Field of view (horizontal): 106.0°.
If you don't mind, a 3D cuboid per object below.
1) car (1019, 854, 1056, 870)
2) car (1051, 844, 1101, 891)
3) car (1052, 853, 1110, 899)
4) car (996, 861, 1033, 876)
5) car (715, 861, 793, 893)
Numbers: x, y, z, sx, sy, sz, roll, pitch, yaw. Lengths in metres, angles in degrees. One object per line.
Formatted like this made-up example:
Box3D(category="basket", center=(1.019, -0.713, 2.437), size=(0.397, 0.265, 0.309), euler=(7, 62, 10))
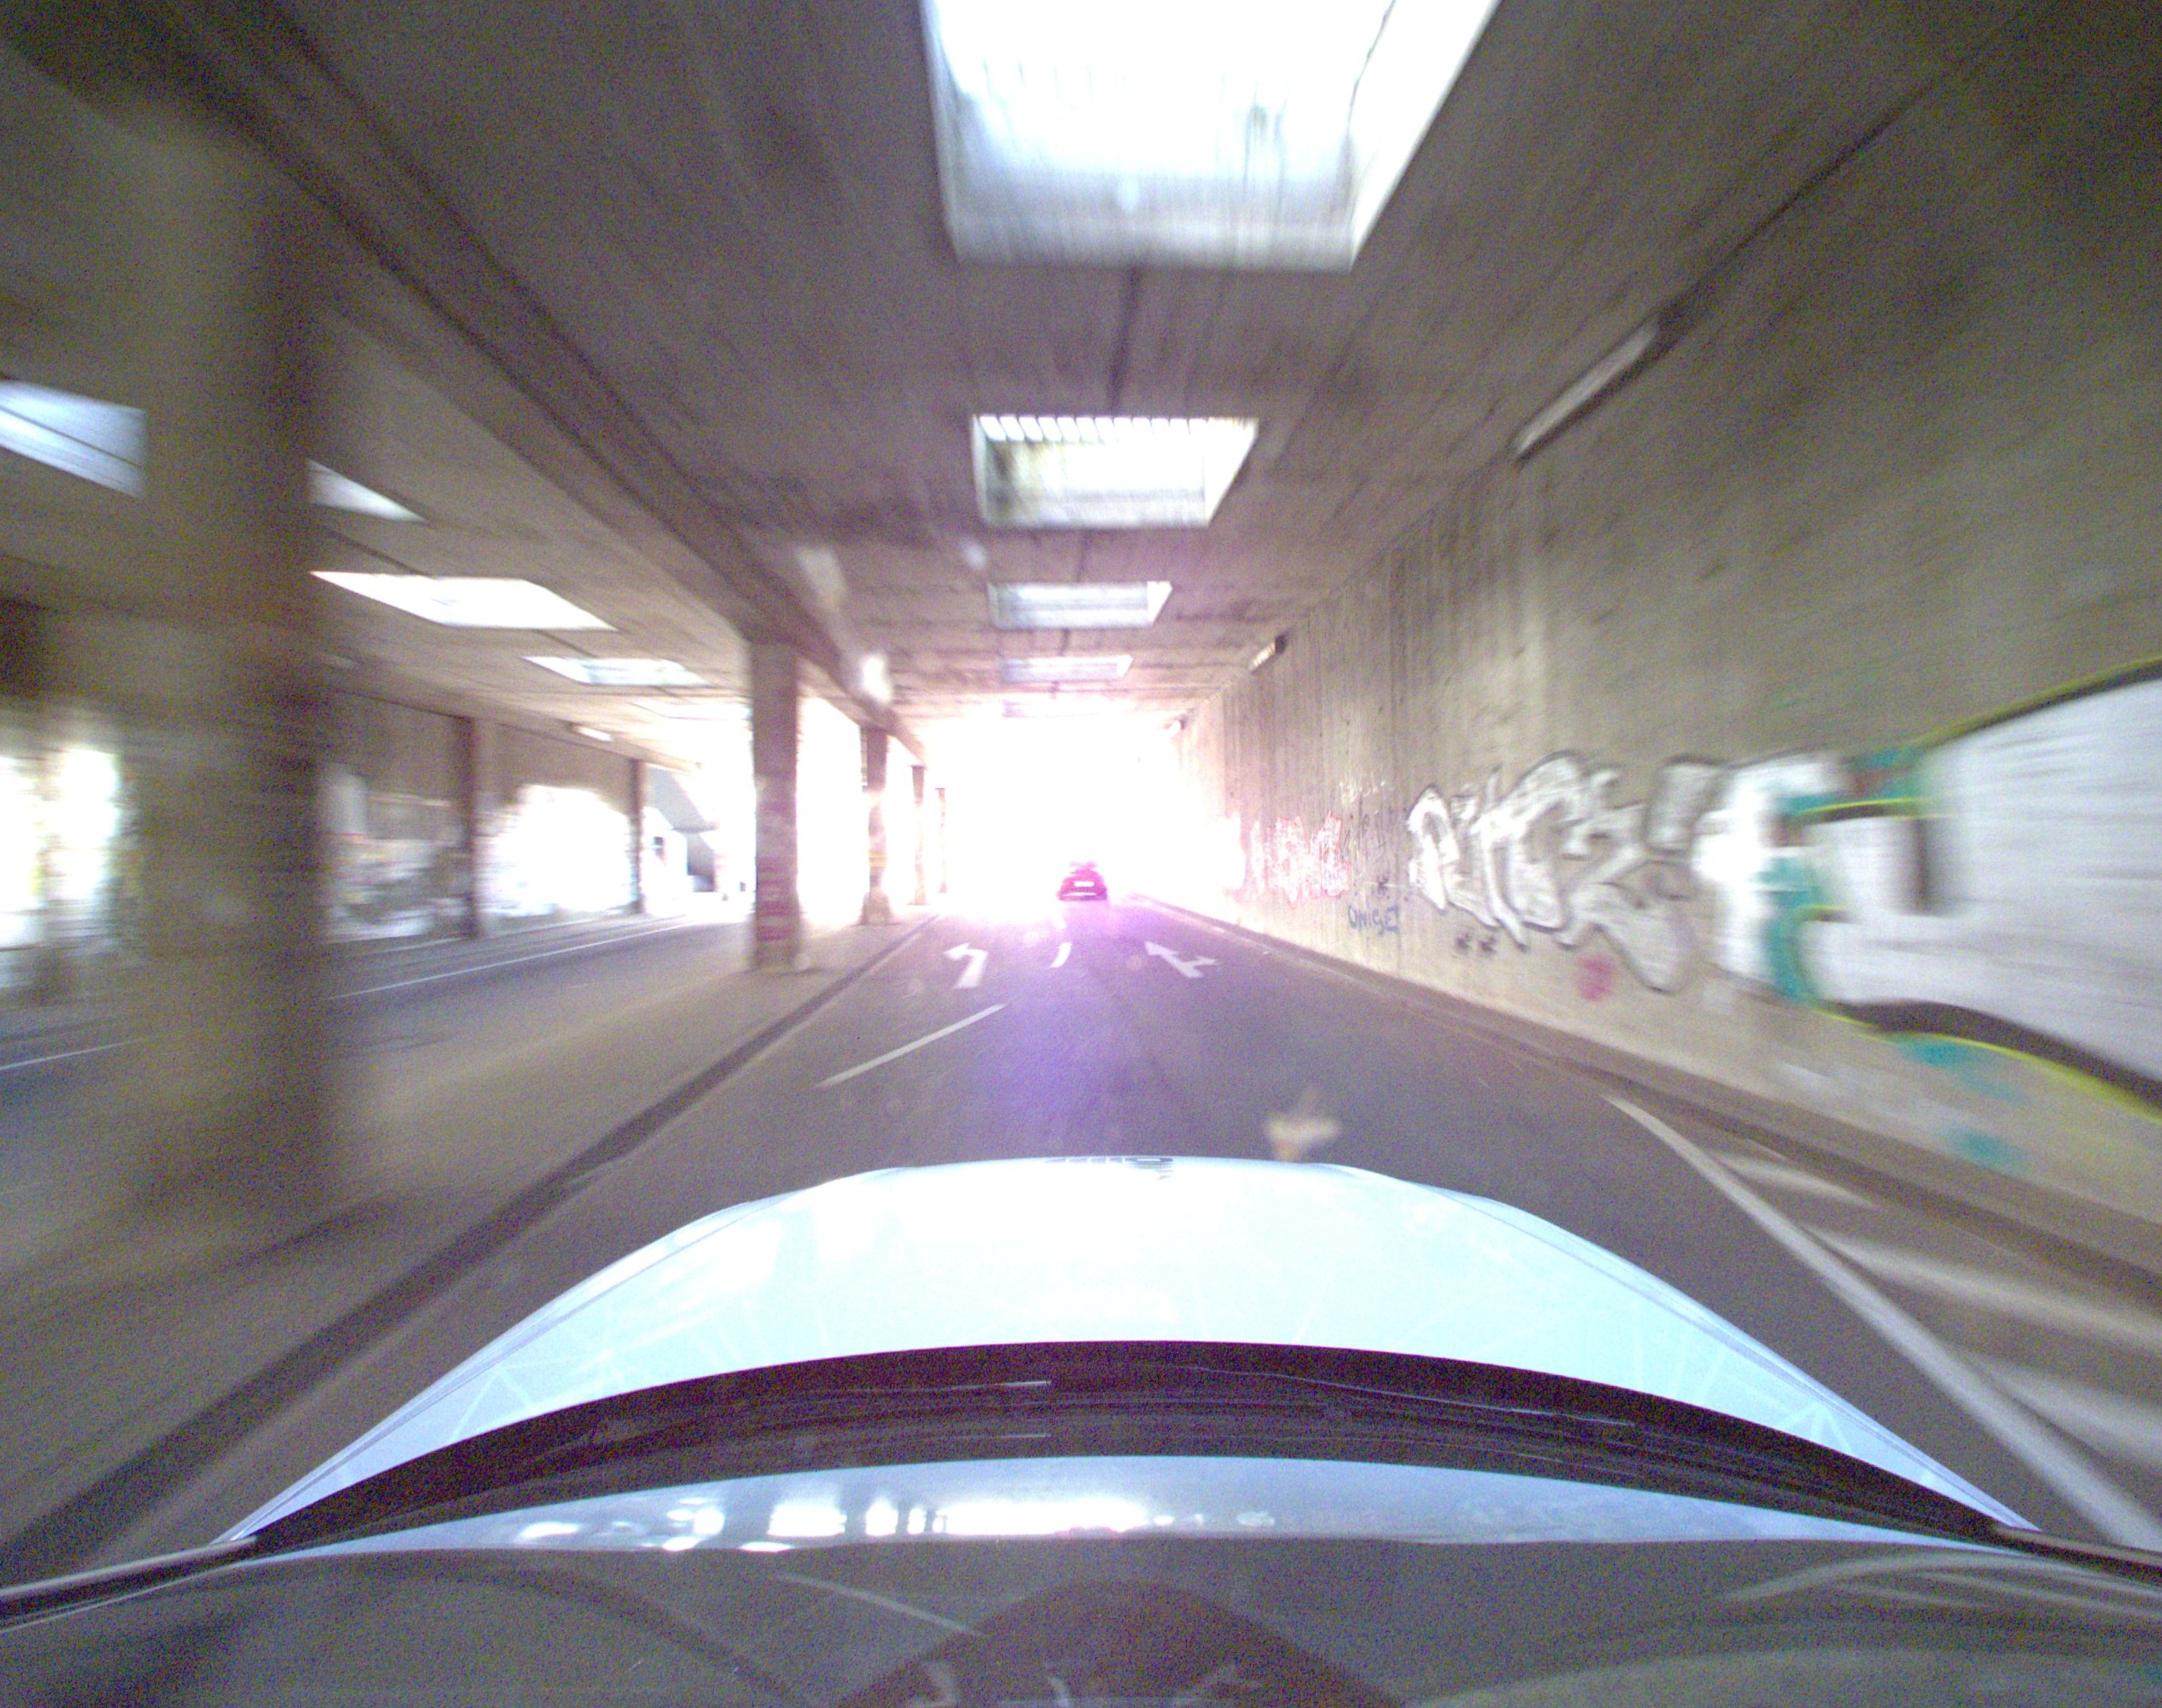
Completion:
Box3D(category="car", center=(-5.113, 0.977, 96.045), size=(4.134, 1.739, 2.001), euler=(-2, 0, 2))
Box3D(category="car", center=(-0.277, 0.545, 35.655), size=(1.812, 1.882, 4.578), euler=(-2, 0, -4))
Box3D(category="car", center=(-0.066, 0.747, 29.444), size=(1.822, 1.501, 4.205), euler=(-1, 0, -4))
Box3D(category="car", center=(-7.429, 1.596, 91.701), size=(3.975, 1.574, 1.639), euler=(-1, -1, -1))
Box3D(category="car", center=(-22.096, 1.537, 55.183), size=(4.471, 2.013, 1.997), euler=(-1, 2, -5))
